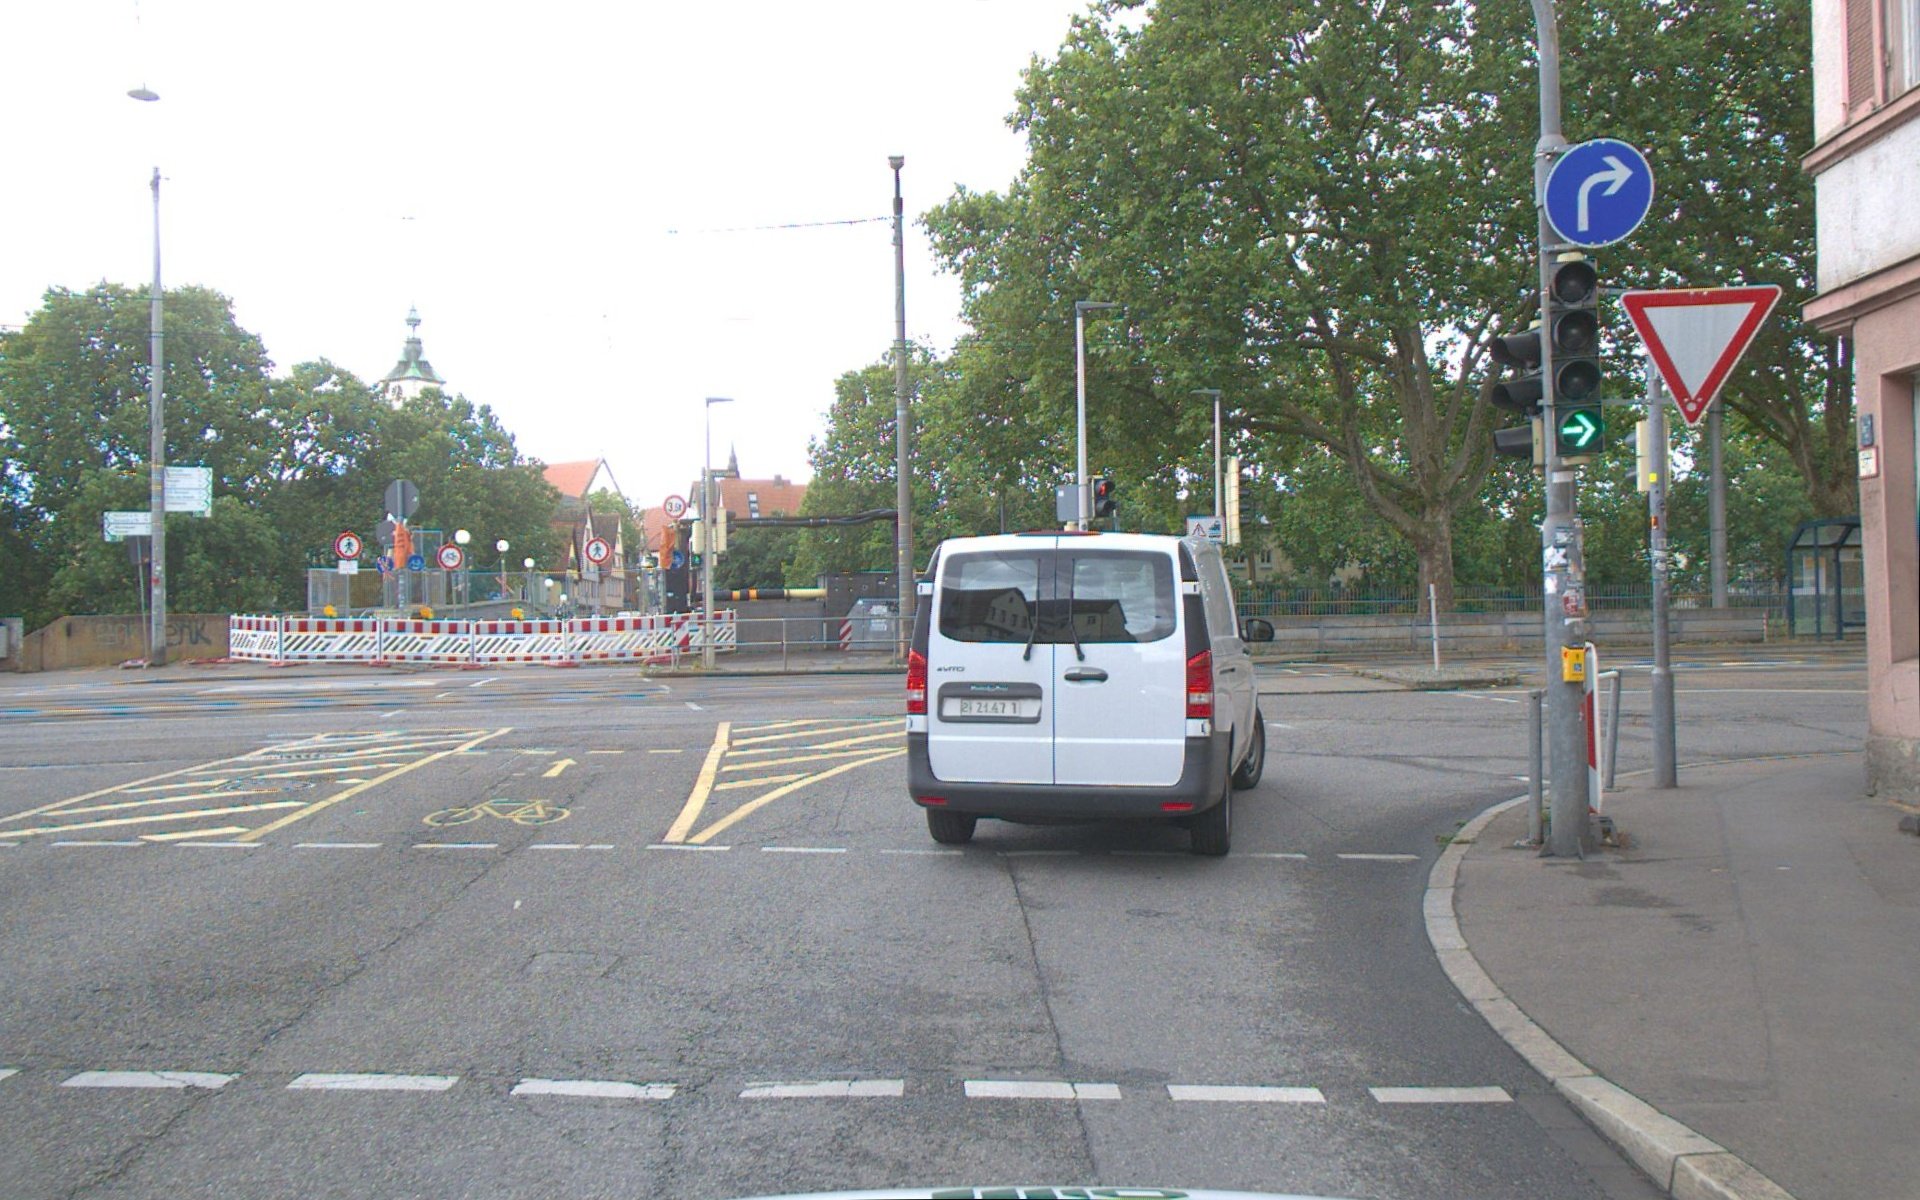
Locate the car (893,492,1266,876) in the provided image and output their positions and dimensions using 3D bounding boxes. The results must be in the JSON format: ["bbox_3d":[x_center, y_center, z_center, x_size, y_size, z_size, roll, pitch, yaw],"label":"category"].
[{"bbox_3d":[1.057,0.437,11.335,1.909,2.049,4.702,0,0,12],"label":"car"}]
